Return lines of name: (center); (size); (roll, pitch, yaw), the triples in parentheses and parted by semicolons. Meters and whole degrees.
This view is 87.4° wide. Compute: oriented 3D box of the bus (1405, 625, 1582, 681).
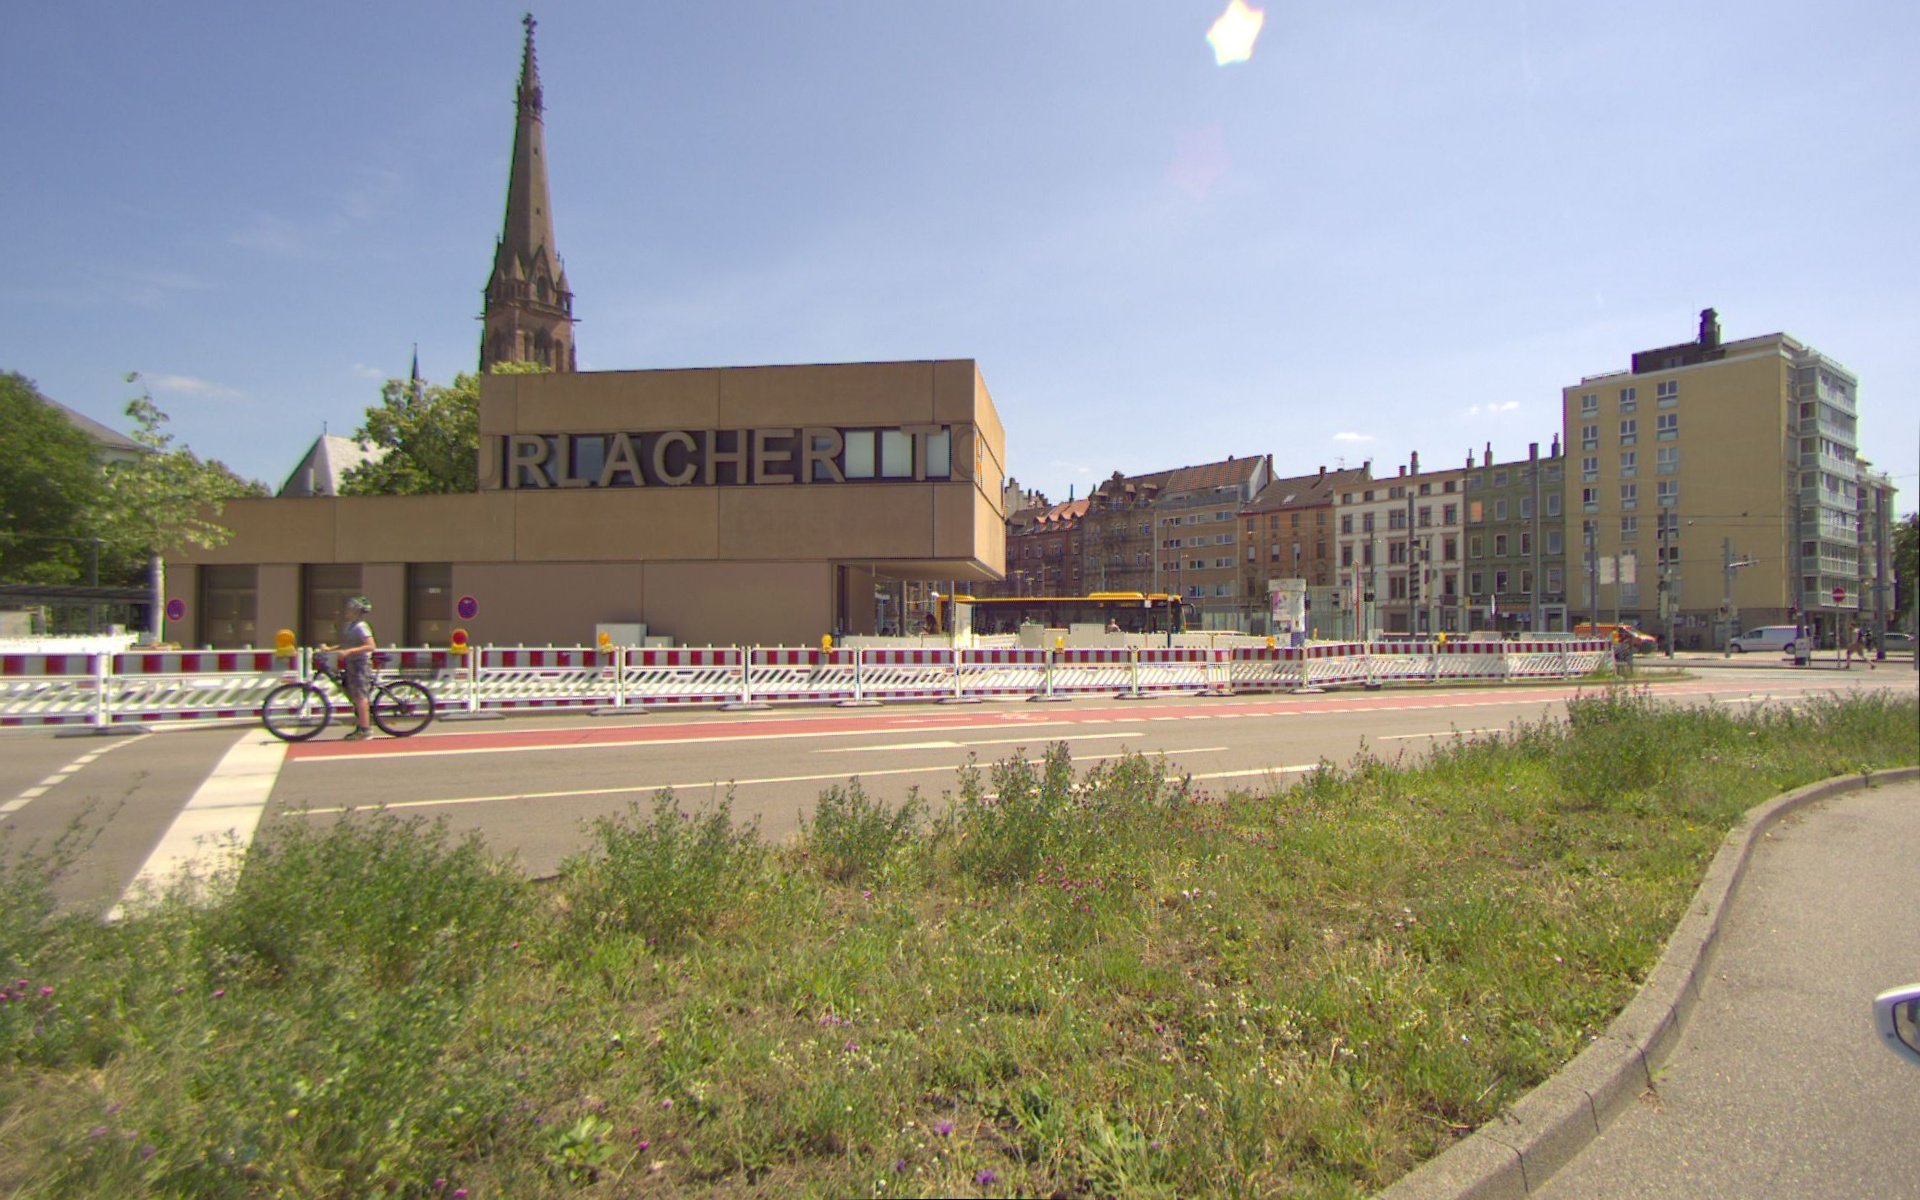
bus: (14.970, 1.435, 28.058); (5.743, 1.266, 1.240); (-1, 0, -26)

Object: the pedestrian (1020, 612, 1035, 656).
pedestrian: (3.131, 1.574, 46.709); (0.572, 2.022, 0.572); (-1, 0, 11)

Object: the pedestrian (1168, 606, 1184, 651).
pedestrian: (10.025, 1.313, 46.590); (0.650, 2.022, 0.611); (-1, 0, 11)

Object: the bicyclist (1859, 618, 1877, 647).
bicyclist: (68.405, 2.440, 75.665); (0.724, 2.134, 0.776); (-1, 0, 23)

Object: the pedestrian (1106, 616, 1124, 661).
pedestrian: (7.067, 1.755, 45.659); (0.651, 2.022, 0.611); (-1, 0, 21)

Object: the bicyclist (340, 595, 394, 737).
bicyclist: (-6.891, 0.759, 11.682); (0.492, 1.600, 0.527); (2, -2, -30)

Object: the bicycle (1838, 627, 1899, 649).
bicycle: (68.410, 2.850, 75.674); (3.261, 1.617, 0.818); (-1, 0, 25)

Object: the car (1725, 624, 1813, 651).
car: (53.858, 2.480, 66.926); (1.798, 1.649, 4.273); (-1, 0, -38)

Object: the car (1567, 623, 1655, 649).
car: (43.209, 2.372, 66.766); (1.658, 1.635, 4.596); (-1, 0, -33)

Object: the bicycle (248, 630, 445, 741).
bicycle: (-7.022, 0.961, 11.593); (1.876, 1.196, 0.520); (2, -2, -31)

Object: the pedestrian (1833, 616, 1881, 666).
pedestrian: (36.007, 1.633, 40.330); (0.890, 1.959, 1.175); (-1, 0, -25)

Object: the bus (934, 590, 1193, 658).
bus: (4.983, 1.153, 48.778); (12.005, 3.081, 3.741); (0, -1, 7)

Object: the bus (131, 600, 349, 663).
bus: (-38.590, 1.662, 53.926); (10.388, 3.094, 2.857); (-1, 0, 9)
